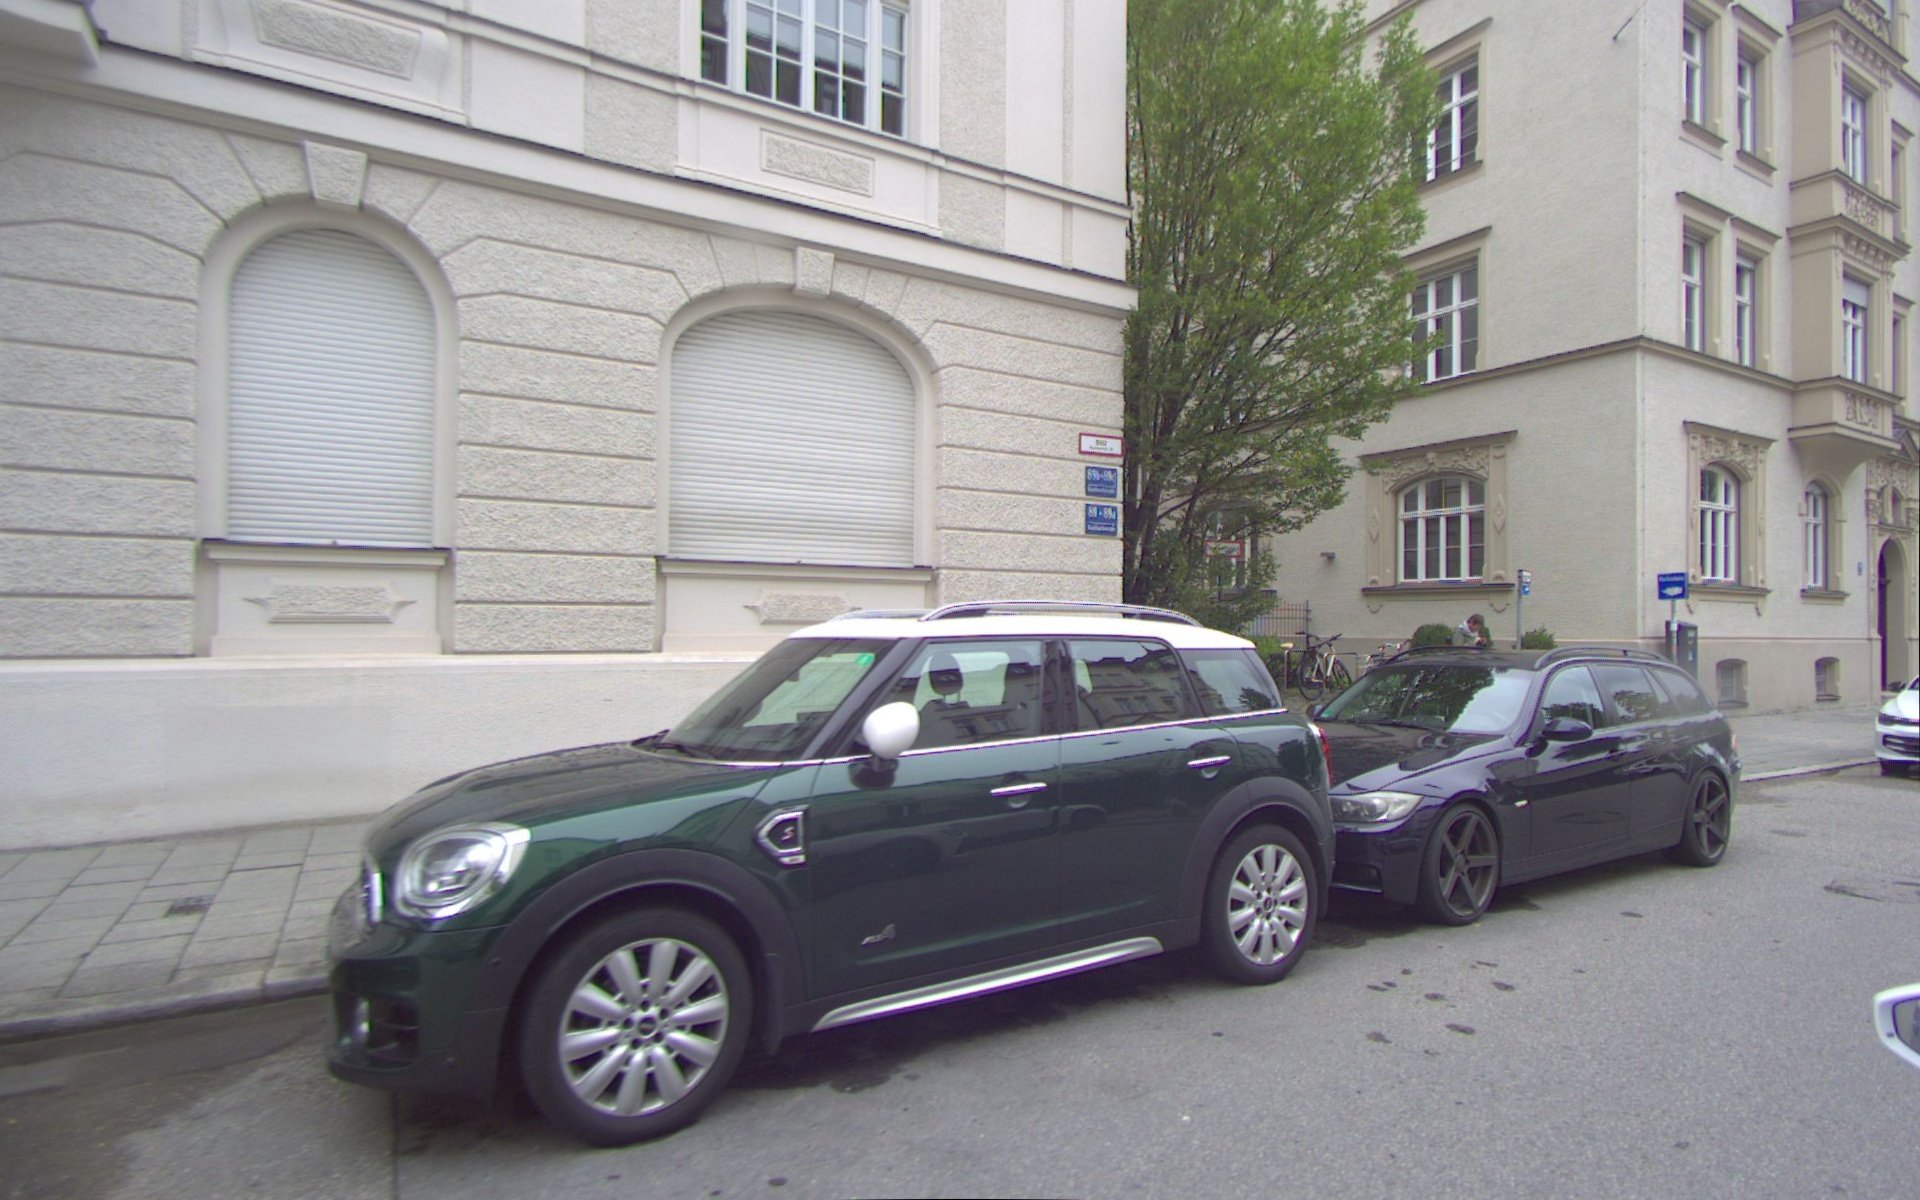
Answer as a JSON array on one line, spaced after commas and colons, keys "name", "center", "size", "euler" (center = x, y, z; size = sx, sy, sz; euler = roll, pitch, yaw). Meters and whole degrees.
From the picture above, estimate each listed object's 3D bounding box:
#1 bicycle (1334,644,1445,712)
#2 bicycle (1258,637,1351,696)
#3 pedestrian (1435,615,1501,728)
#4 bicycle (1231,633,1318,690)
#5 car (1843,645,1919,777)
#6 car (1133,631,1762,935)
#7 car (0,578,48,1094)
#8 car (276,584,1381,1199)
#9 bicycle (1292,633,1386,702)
[{"name": "bicycle", "center": [7.486, 1.330, 17.482], "size": [1.983, 0.973, 0.691], "euler": [-2, 3, -29]}, {"name": "bicycle", "center": [6.633, 1.263, 19.334], "size": [1.883, 1.017, 0.582], "euler": [-1, 1, -29]}, {"name": "pedestrian", "center": [7.607, 1.049, 15.044], "size": [0.624, 1.647, 0.669], "euler": [1, -1, -33]}, {"name": "bicycle", "center": [6.269, 1.211, 20.005], "size": [1.809, 1.011, 0.551], "euler": [-1, 1, -29]}, {"name": "car", "center": [12.641, 1.274, 12.158], "size": [4.198, 1.453, 1.826], "euler": [1, -3, -33]}, {"name": "car", "center": [3.392, 0.941, 6.745], "size": [4.317, 1.431, 1.778], "euler": [1, -1, -31]}, {"name": "car", "center": [-4.726, 0.710, 1.583], "size": [4.517, 1.640, 1.906], "euler": [1, -1, -30]}, {"name": "car", "center": [-0.315, 0.824, 4.308], "size": [4.196, 1.640, 1.827], "euler": [1, -1, -31]}, {"name": "bicycle", "center": [7.006, 1.226, 18.561], "size": [1.796, 1.107, 0.610], "euler": [-2, 3, -29]}]
